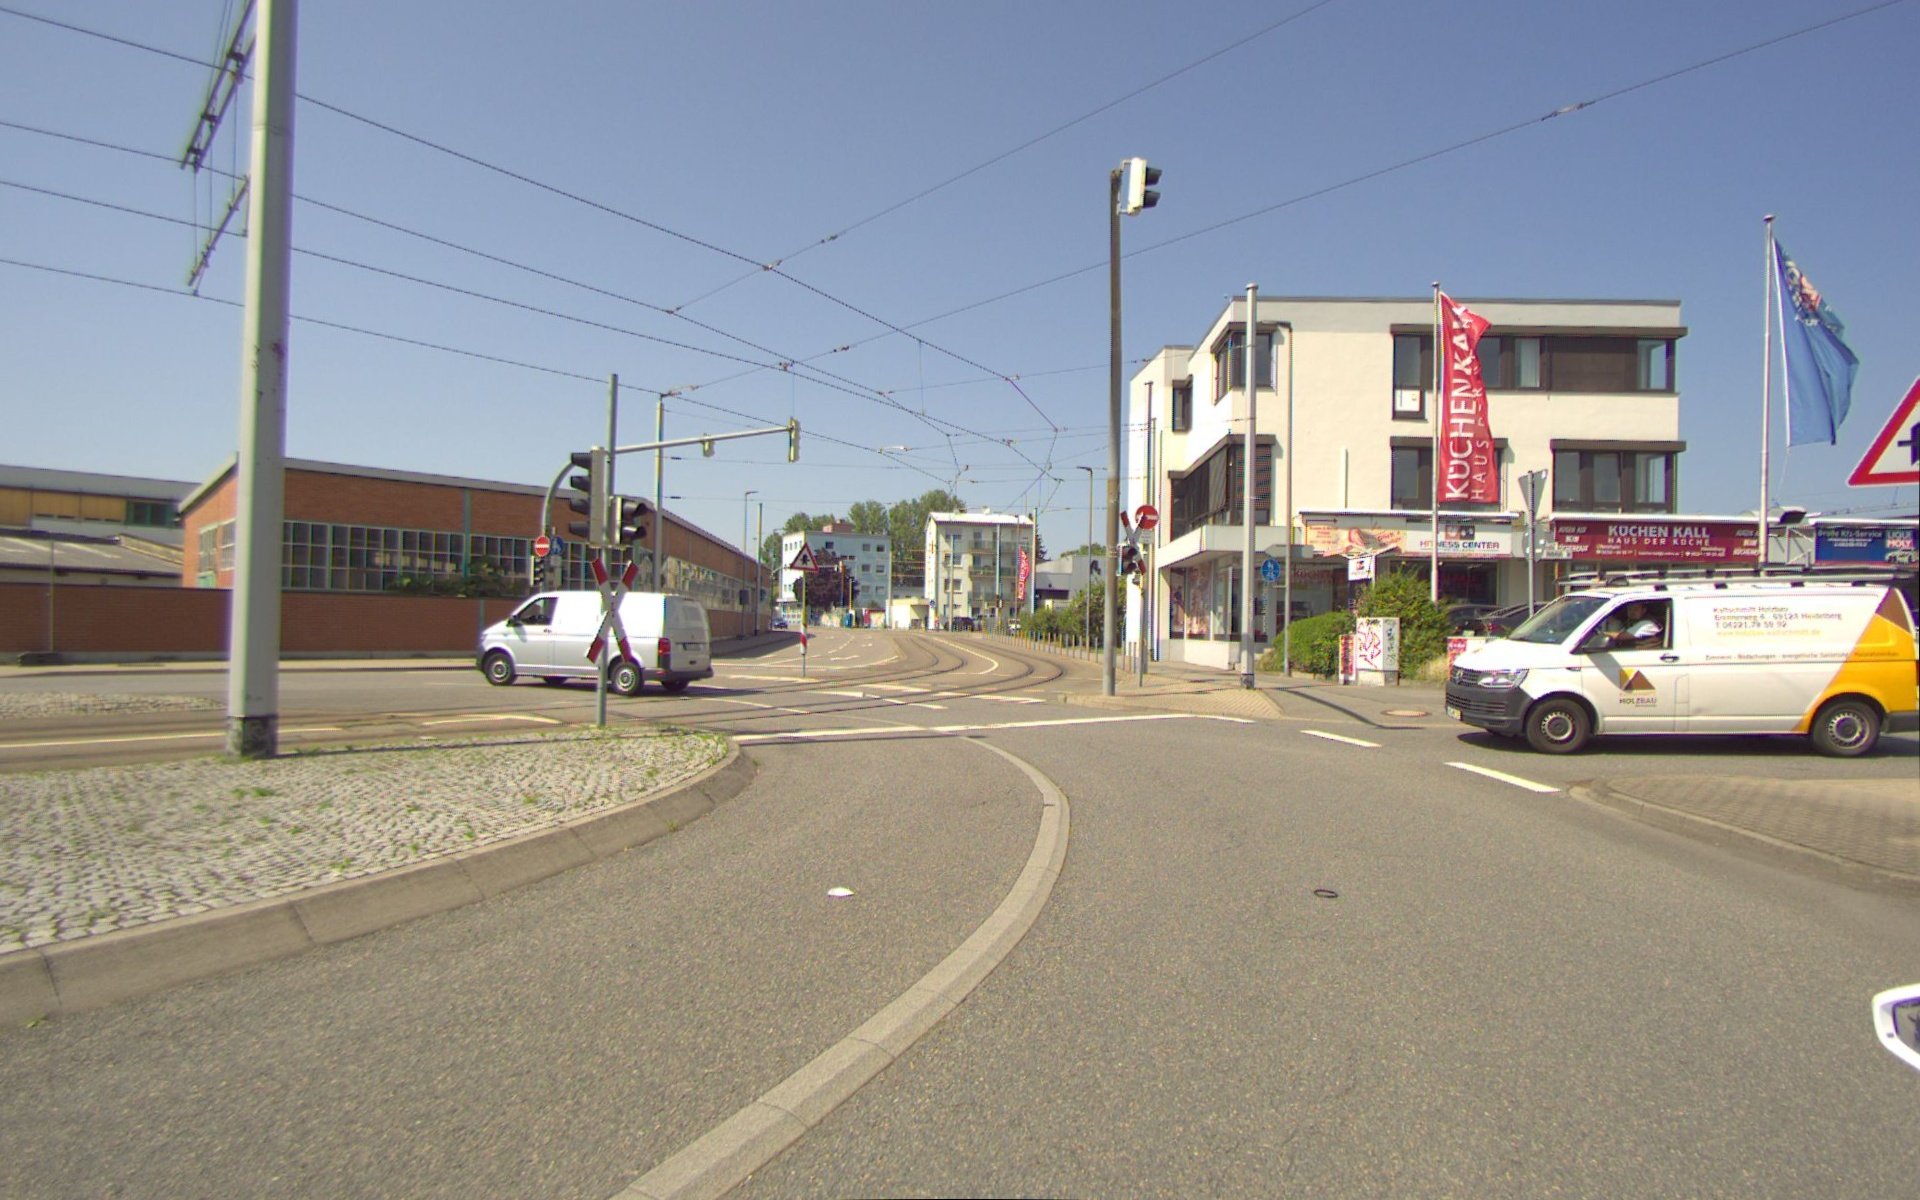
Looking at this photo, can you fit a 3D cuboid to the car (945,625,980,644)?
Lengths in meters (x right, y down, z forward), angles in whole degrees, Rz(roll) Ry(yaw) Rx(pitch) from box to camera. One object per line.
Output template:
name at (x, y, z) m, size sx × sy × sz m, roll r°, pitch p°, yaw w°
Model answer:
car at (0.265, 3.760, 108.074) m, size 1.978 × 2.040 × 3.965 m, roll 2°, pitch -3°, yaw -32°

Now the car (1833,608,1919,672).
car at (23.759, 0.943, 23.918) m, size 4.232 × 1.445 × 2.033 m, roll 0°, pitch -1°, yaw -1°

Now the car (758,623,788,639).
car at (-22.578, 3.719, 121.247) m, size 1.515 × 1.862 × 3.403 m, roll -1°, pitch -2°, yaw 37°

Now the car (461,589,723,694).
car at (-7.388, 0.804, 20.252) m, size 4.732 × 1.961 × 1.934 m, roll 0°, pitch -1°, yaw 17°

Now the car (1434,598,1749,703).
car at (12.828, 1.010, 20.683) m, size 5.175 × 1.991 × 1.967 m, roll 1°, pitch -1°, yaw 3°

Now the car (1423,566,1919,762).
car at (8.554, 0.708, 12.325) m, size 4.834 × 2.142 × 2.029 m, roll 0°, pitch 0°, yaw 8°
